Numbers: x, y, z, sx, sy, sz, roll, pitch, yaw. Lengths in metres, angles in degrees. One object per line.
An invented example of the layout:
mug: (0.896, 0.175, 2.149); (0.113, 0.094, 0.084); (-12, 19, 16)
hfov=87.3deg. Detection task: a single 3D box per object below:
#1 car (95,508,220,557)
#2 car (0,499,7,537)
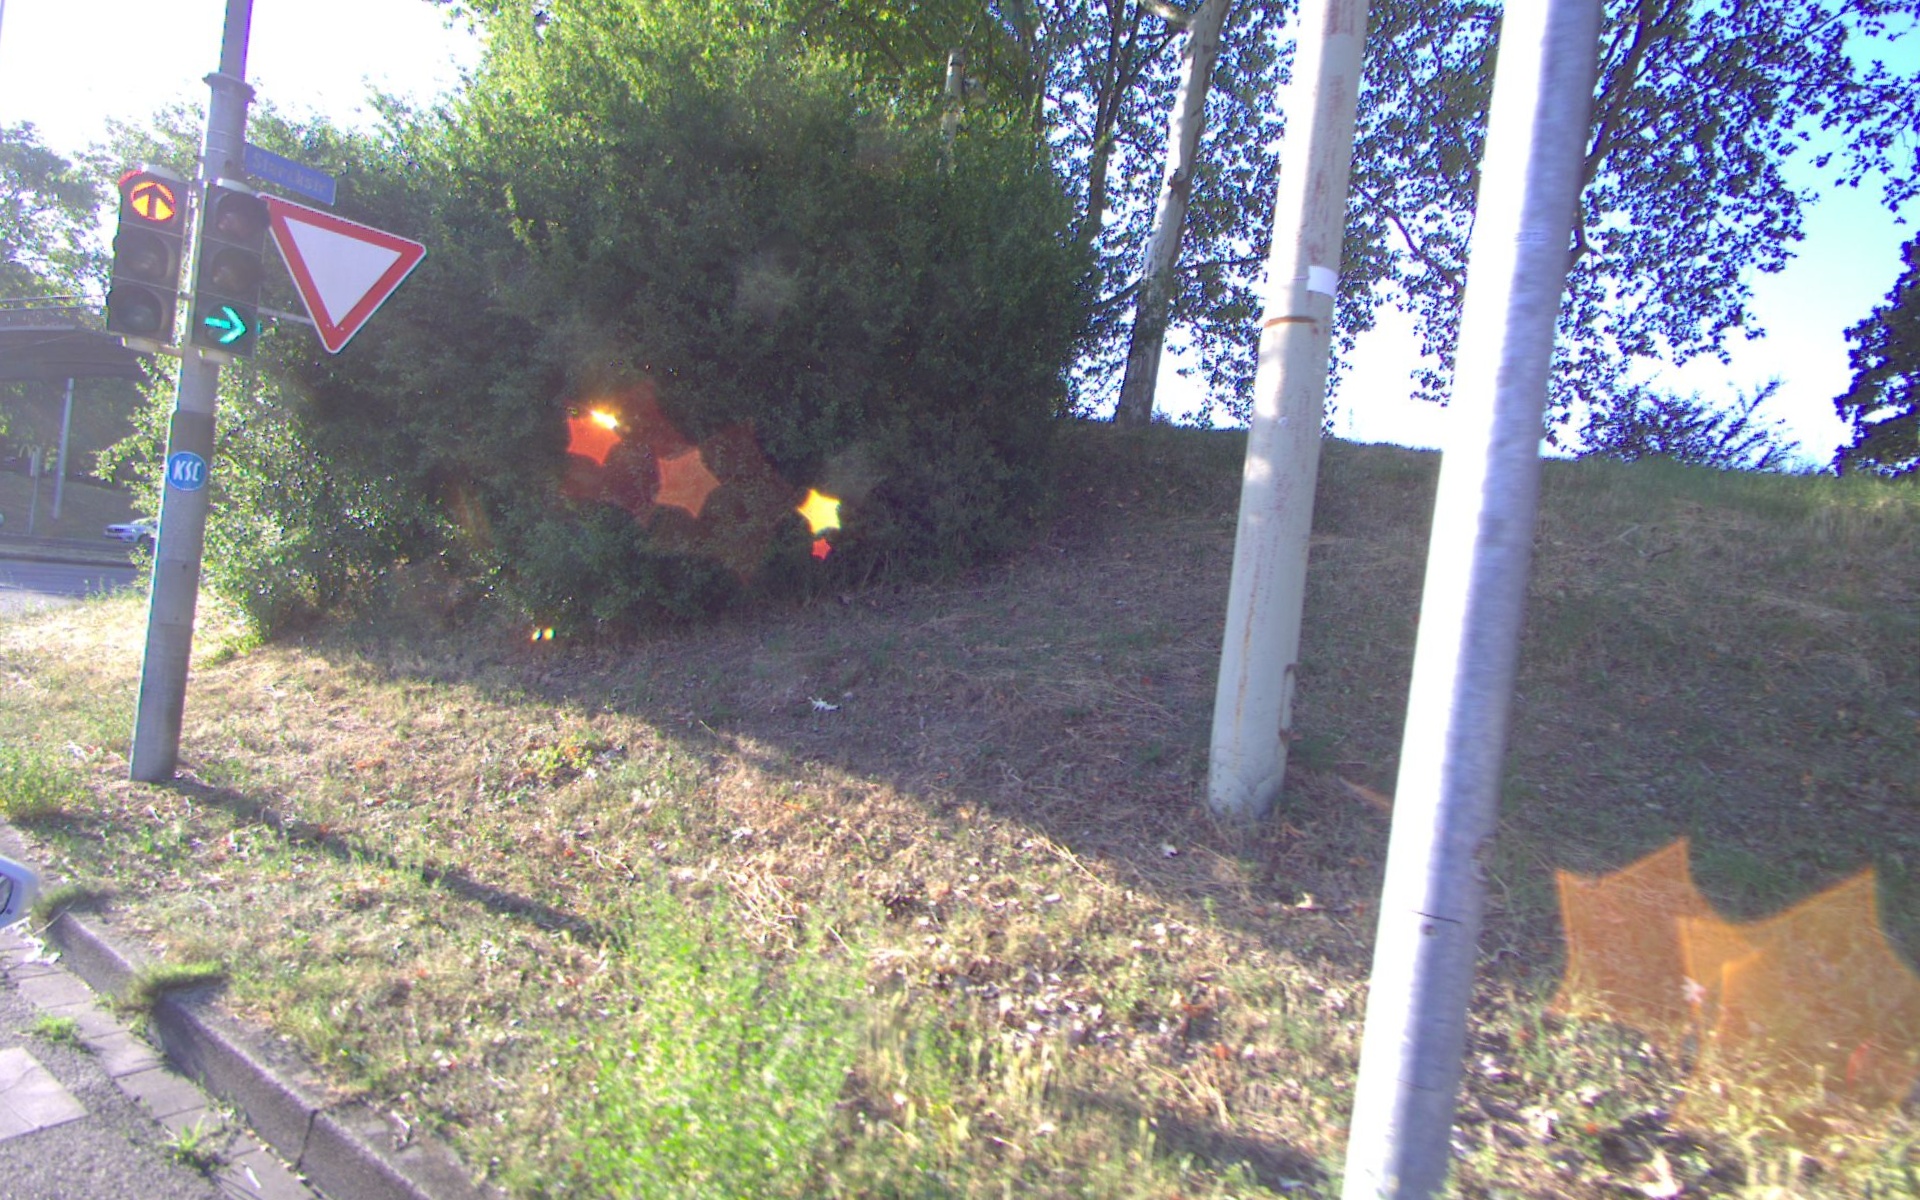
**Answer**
car: (-37.783, -3.151, 47.504); (1.821, 1.628, 4.312); (6, -1, 13)
car: (-42.771, -3.753, 41.707); (1.821, 1.628, 4.375); (6, -1, 13)
